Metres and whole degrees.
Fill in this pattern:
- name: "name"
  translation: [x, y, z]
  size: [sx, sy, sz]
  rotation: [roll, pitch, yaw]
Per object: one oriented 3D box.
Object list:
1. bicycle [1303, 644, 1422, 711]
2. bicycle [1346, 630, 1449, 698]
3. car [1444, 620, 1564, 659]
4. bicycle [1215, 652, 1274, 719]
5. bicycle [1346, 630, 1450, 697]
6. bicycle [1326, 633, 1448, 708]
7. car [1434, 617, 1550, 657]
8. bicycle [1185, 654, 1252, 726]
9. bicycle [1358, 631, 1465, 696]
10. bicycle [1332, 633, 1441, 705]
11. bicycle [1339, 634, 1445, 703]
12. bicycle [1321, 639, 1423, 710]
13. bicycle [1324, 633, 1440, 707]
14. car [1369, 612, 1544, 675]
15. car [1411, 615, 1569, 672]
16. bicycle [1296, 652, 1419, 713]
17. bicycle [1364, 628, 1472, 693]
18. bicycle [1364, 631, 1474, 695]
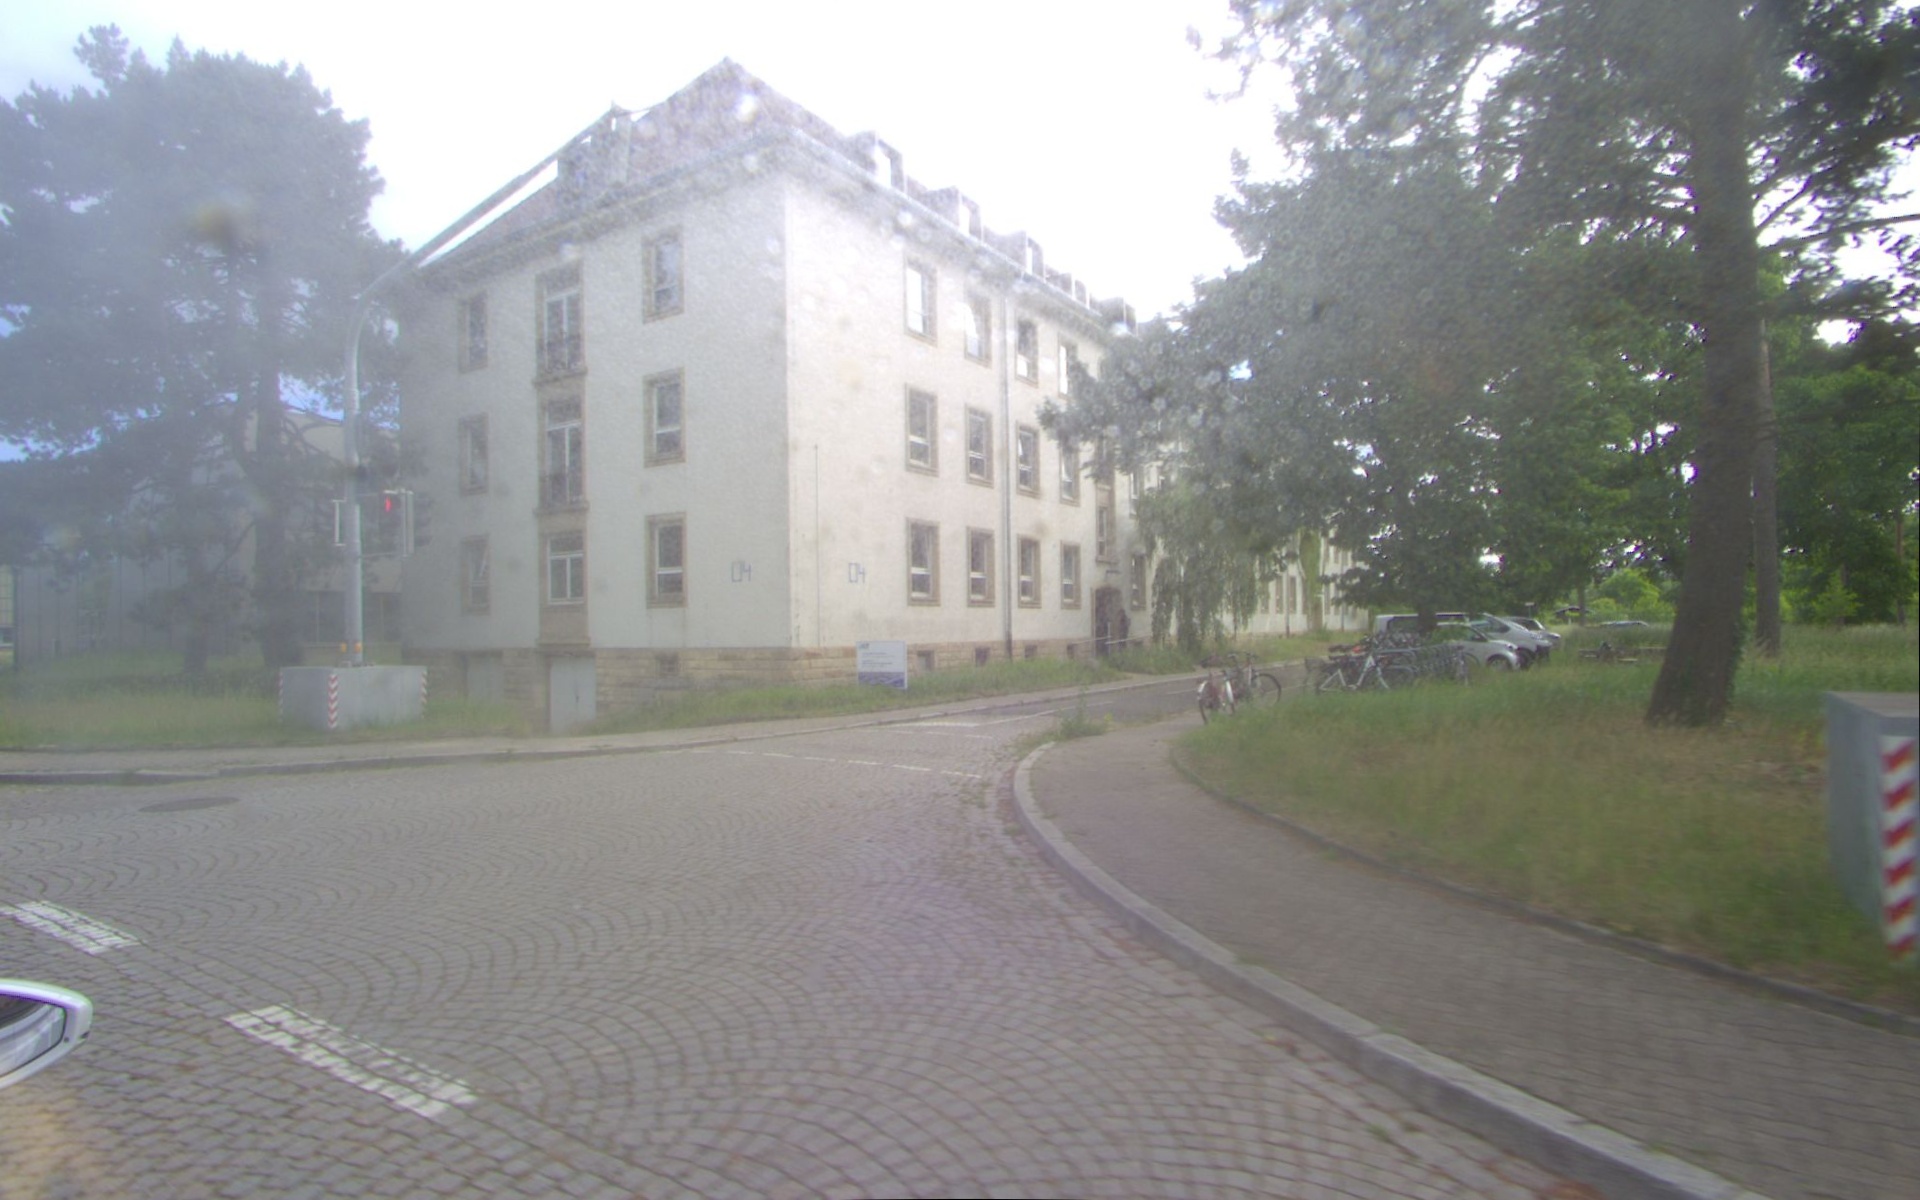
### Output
- name: "bicycle"
  translation: [7.093, 1.343, 17.715]
  size: [1.879, 1.115, 0.539]
  rotation: [-2, -2, 39]
- name: "bicycle"
  translation: [8.893, 1.286, 20.383]
  size: [1.830, 1.337, 0.553]
  rotation: [-2, -2, 39]
- name: "car"
  translation: [23.878, 1.730, 44.010]
  size: [4.455, 1.638, 1.989]
  rotation: [-2, -2, 34]
- name: "bicycle"
  translation: [4.737, 1.393, 16.638]
  size: [0.535, 1.027, 1.533]
  rotation: [-1, -2, 32]
- name: "bicycle"
  translation: [9.137, 1.310, 20.950]
  size: [1.914, 1.337, 0.551]
  rotation: [-2, -2, 39]
- name: "bicycle"
  translation: [7.869, 1.275, 18.501]
  size: [2.022, 1.337, 0.436]
  rotation: [-2, -1, 39]
- name: "car"
  translation: [25.003, 1.751, 47.088]
  size: [4.631, 1.796, 1.989]
  rotation: [-2, -2, 34]
- name: "bicycle"
  translation: [3.913, 1.322, 15.087]
  size: [0.523, 0.992, 1.618]
  rotation: [-1, -2, 32]
- name: "bicycle"
  translation: [9.590, 1.330, 21.326]
  size: [1.991, 1.337, 0.538]
  rotation: [-2, -2, 39]
- name: "bicycle"
  translation: [8.316, 1.328, 19.590]
  size: [1.896, 1.337, 0.504]
  rotation: [-2, -1, 39]
- name: "bicycle"
  translation: [8.582, 1.343, 19.953]
  size: [1.895, 1.337, 0.390]
  rotation: [-2, -1, 39]
- name: "bicycle"
  translation: [7.465, 1.320, 18.162]
  size: [1.619, 1.231, 0.539]
  rotation: [-2, -2, 39]
- name: "bicycle"
  translation: [8.016, 1.303, 19.083]
  size: [1.951, 1.337, 0.574]
  rotation: [-2, -2, 39]
- name: "car"
  translation: [16.011, 1.409, 32.586]
  size: [4.776, 1.934, 2.237]
  rotation: [-1, -1, 18]
- name: "car"
  translation: [15.337, 1.241, 29.033]
  size: [3.879, 1.549, 1.852]
  rotation: [-2, -2, 35]
- name: "bicycle"
  translation: [6.784, 1.387, 17.137]
  size: [1.879, 0.961, 0.539]
  rotation: [-2, -2, 38]
- name: "bicycle"
  translation: [10.236, 1.337, 22.429]
  size: [2.076, 1.385, 0.754]
  rotation: [-1, -1, 38]
- name: "bicycle"
  translation: [9.952, 1.351, 21.766]
  size: [2.106, 1.337, 0.552]
  rotation: [-2, -2, 39]
